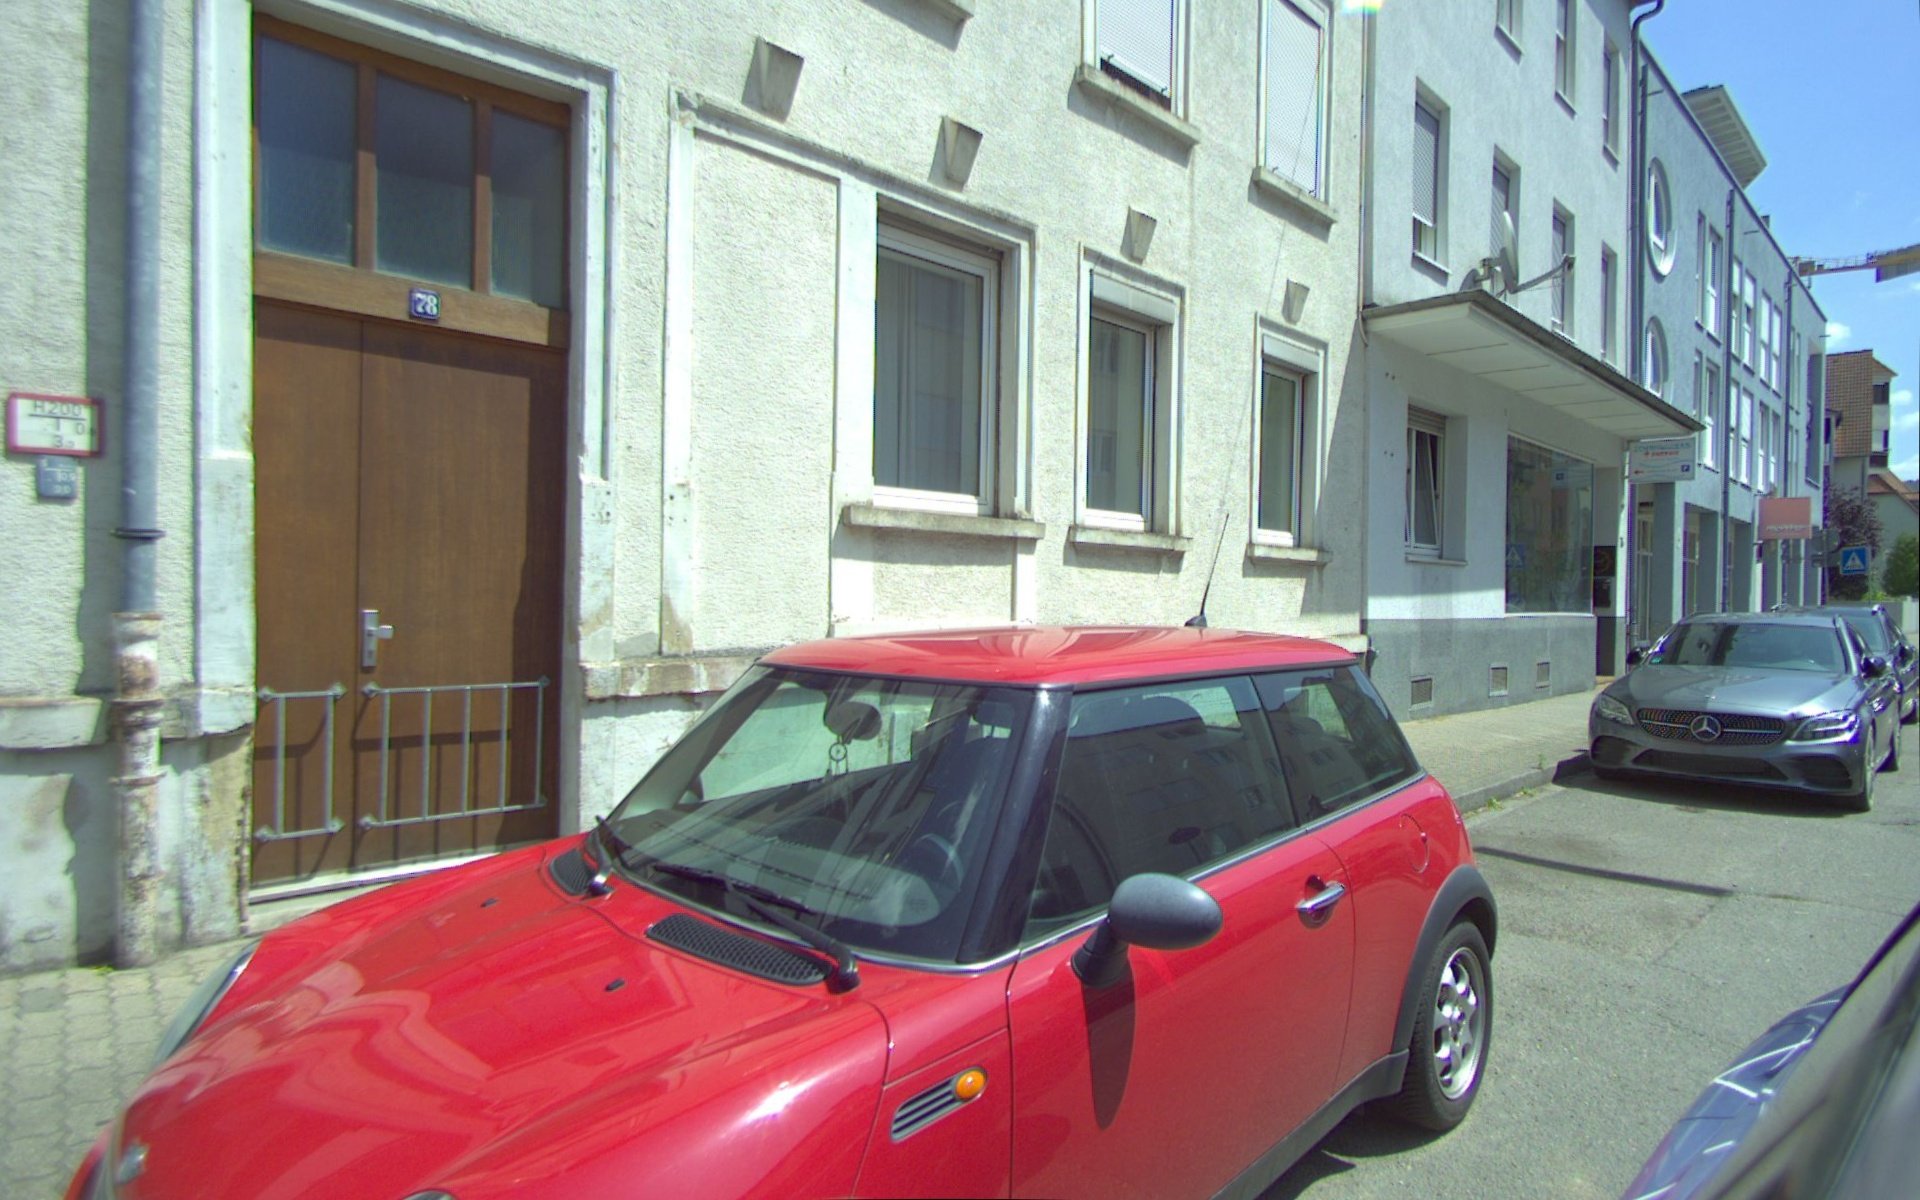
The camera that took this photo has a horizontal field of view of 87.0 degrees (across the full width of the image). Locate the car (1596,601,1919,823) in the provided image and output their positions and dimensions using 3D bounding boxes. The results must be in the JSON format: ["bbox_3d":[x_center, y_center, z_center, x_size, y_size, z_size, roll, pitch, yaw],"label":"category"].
[{"bbox_3d":[7.247,0.755,8.976,4.470,1.438,1.730,0,1,-44],"label":"car"}]

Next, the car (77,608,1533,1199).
[{"bbox_3d":[0.050,0.747,2.641,3.480,1.403,1.620,0,1,-44],"label":"car"}]

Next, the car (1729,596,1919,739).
[{"bbox_3d":[11.349,0.732,12.974,3.932,1.527,1.712,0,1,-43],"label":"car"}]
